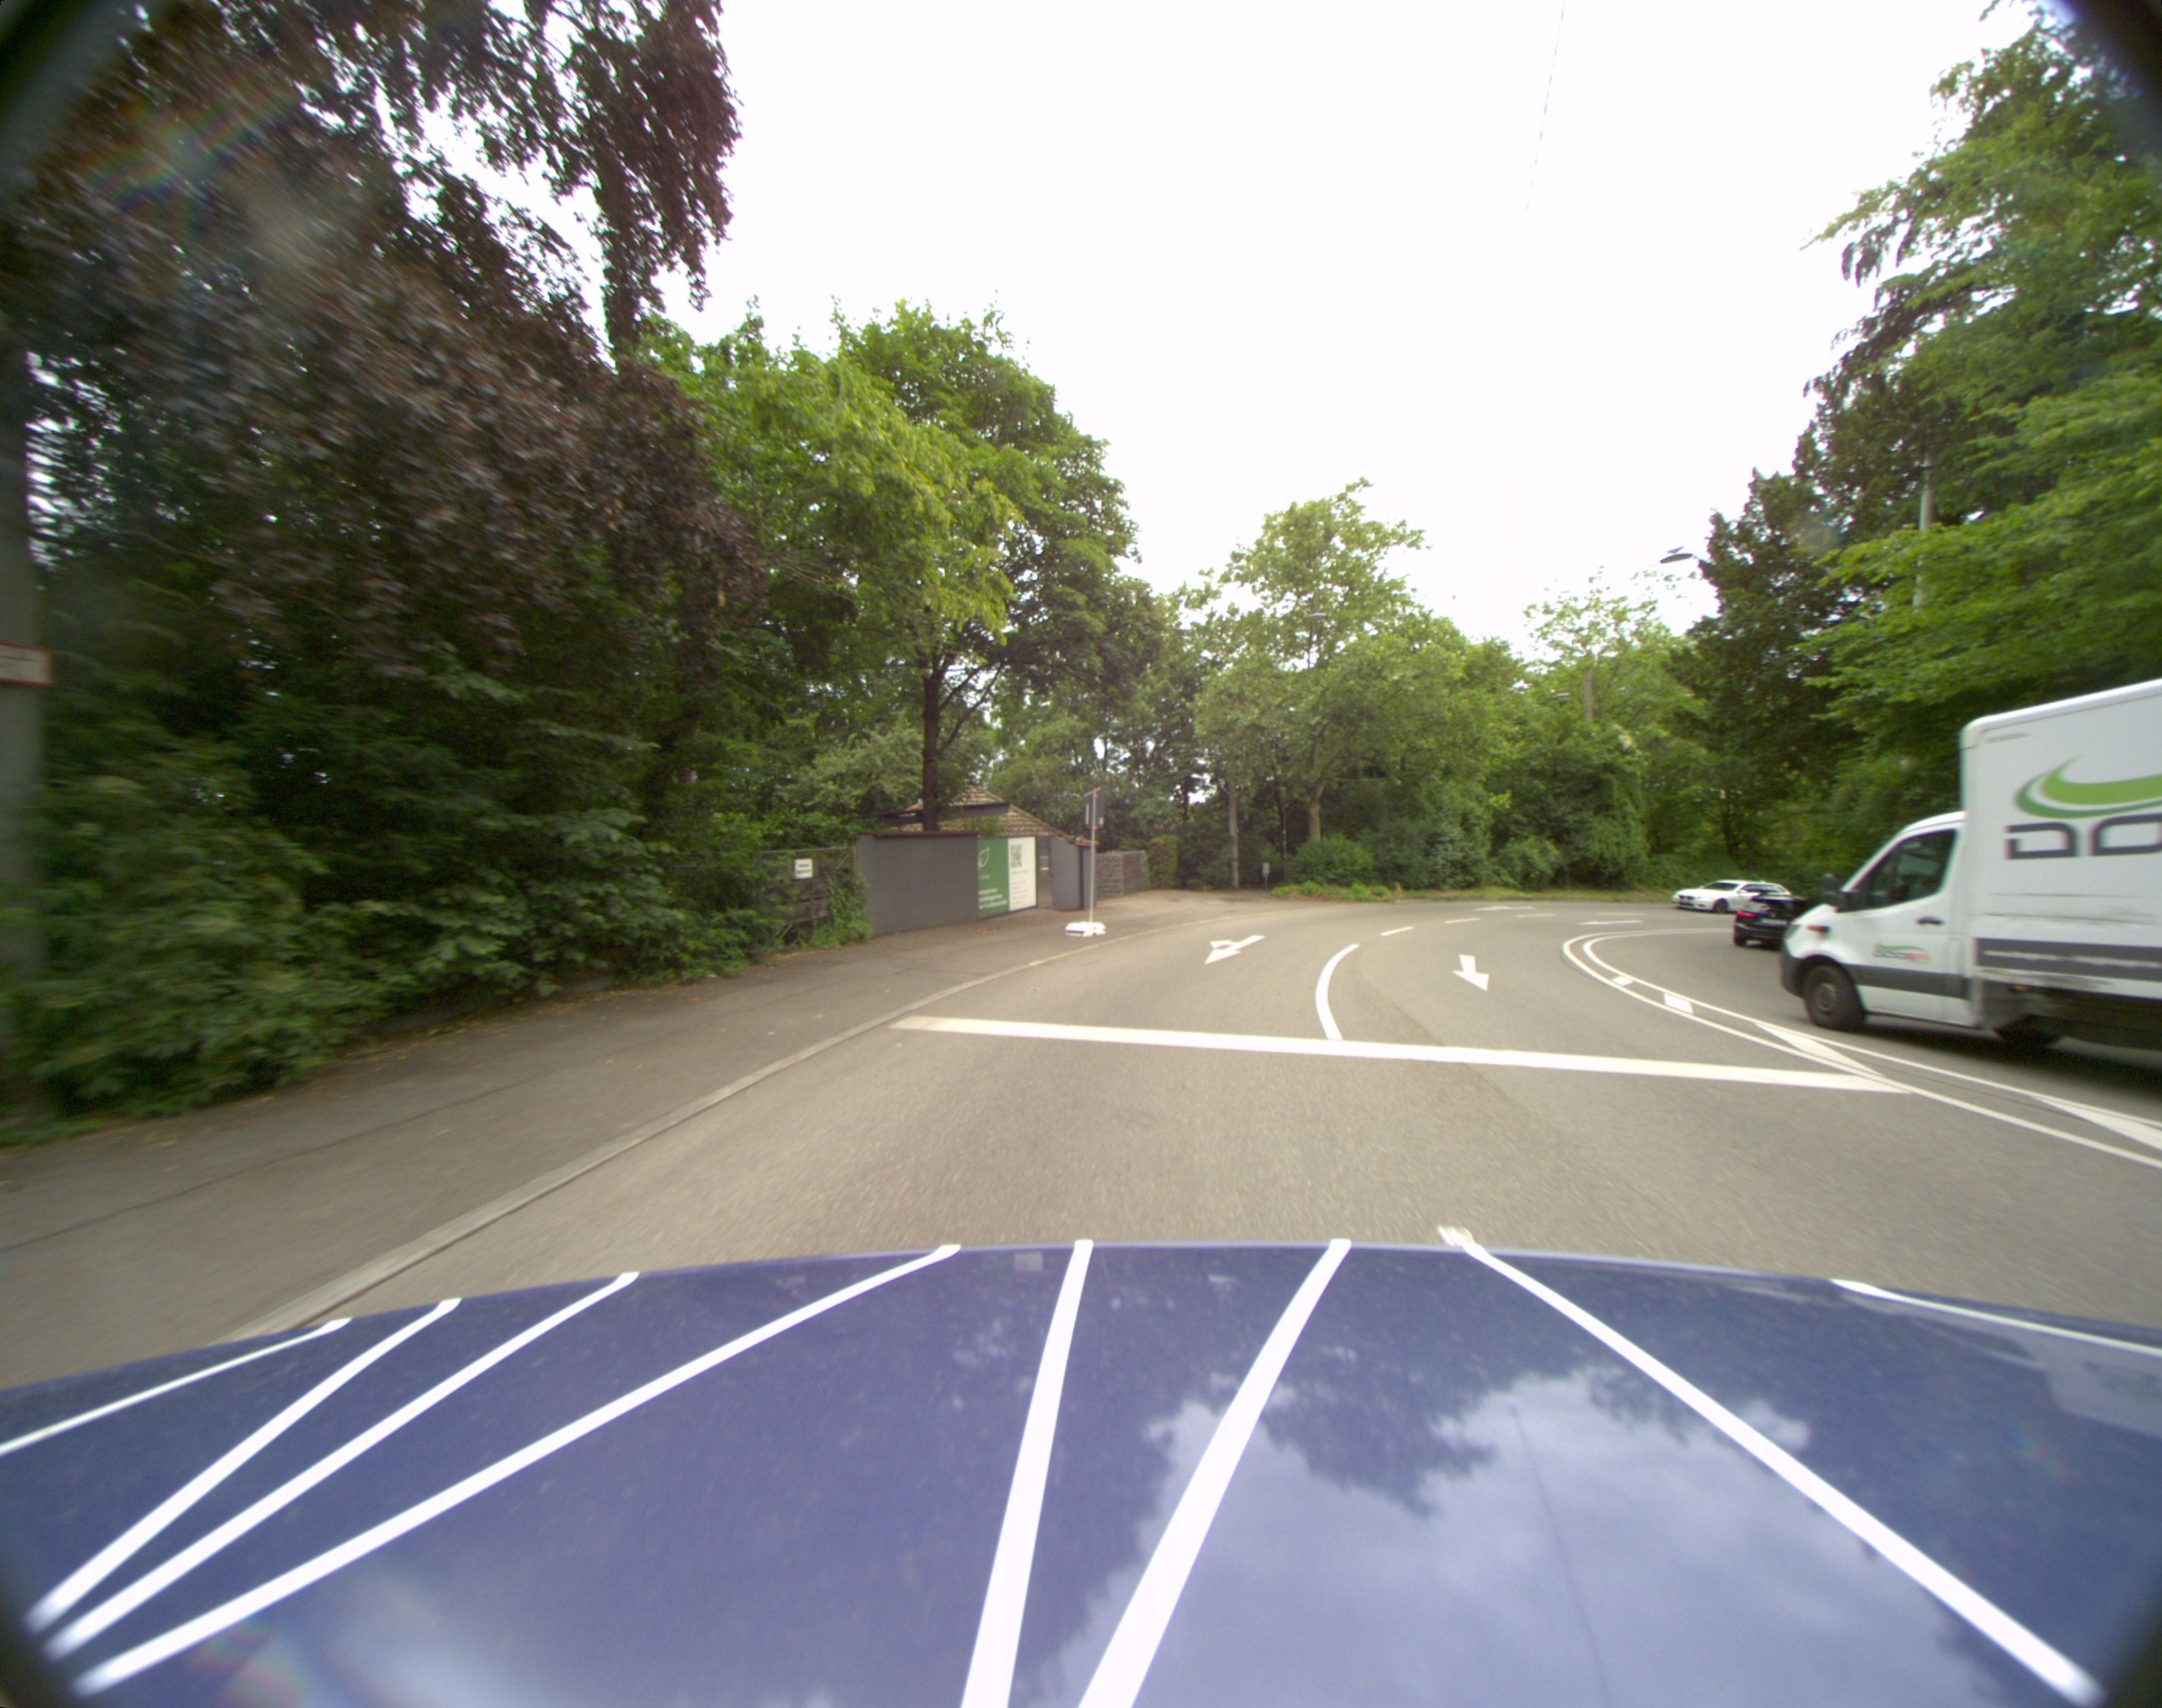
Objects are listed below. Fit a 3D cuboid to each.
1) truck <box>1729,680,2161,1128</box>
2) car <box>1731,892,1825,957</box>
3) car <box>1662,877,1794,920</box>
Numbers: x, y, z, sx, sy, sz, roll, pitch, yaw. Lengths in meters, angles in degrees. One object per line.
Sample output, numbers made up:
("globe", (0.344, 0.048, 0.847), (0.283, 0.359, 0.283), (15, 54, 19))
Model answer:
("truck", (8.678, 0.411, 5.807), (2.406, 3.070, 6.349), (3, -2, 6))
("car", (19.960, 1.974, 21.695), (4.073, 1.564, 1.603), (4, 0, -43))
("car", (29.059, 1.979, 34.178), (4.527, 1.543, 1.915), (2, 4, -9))
